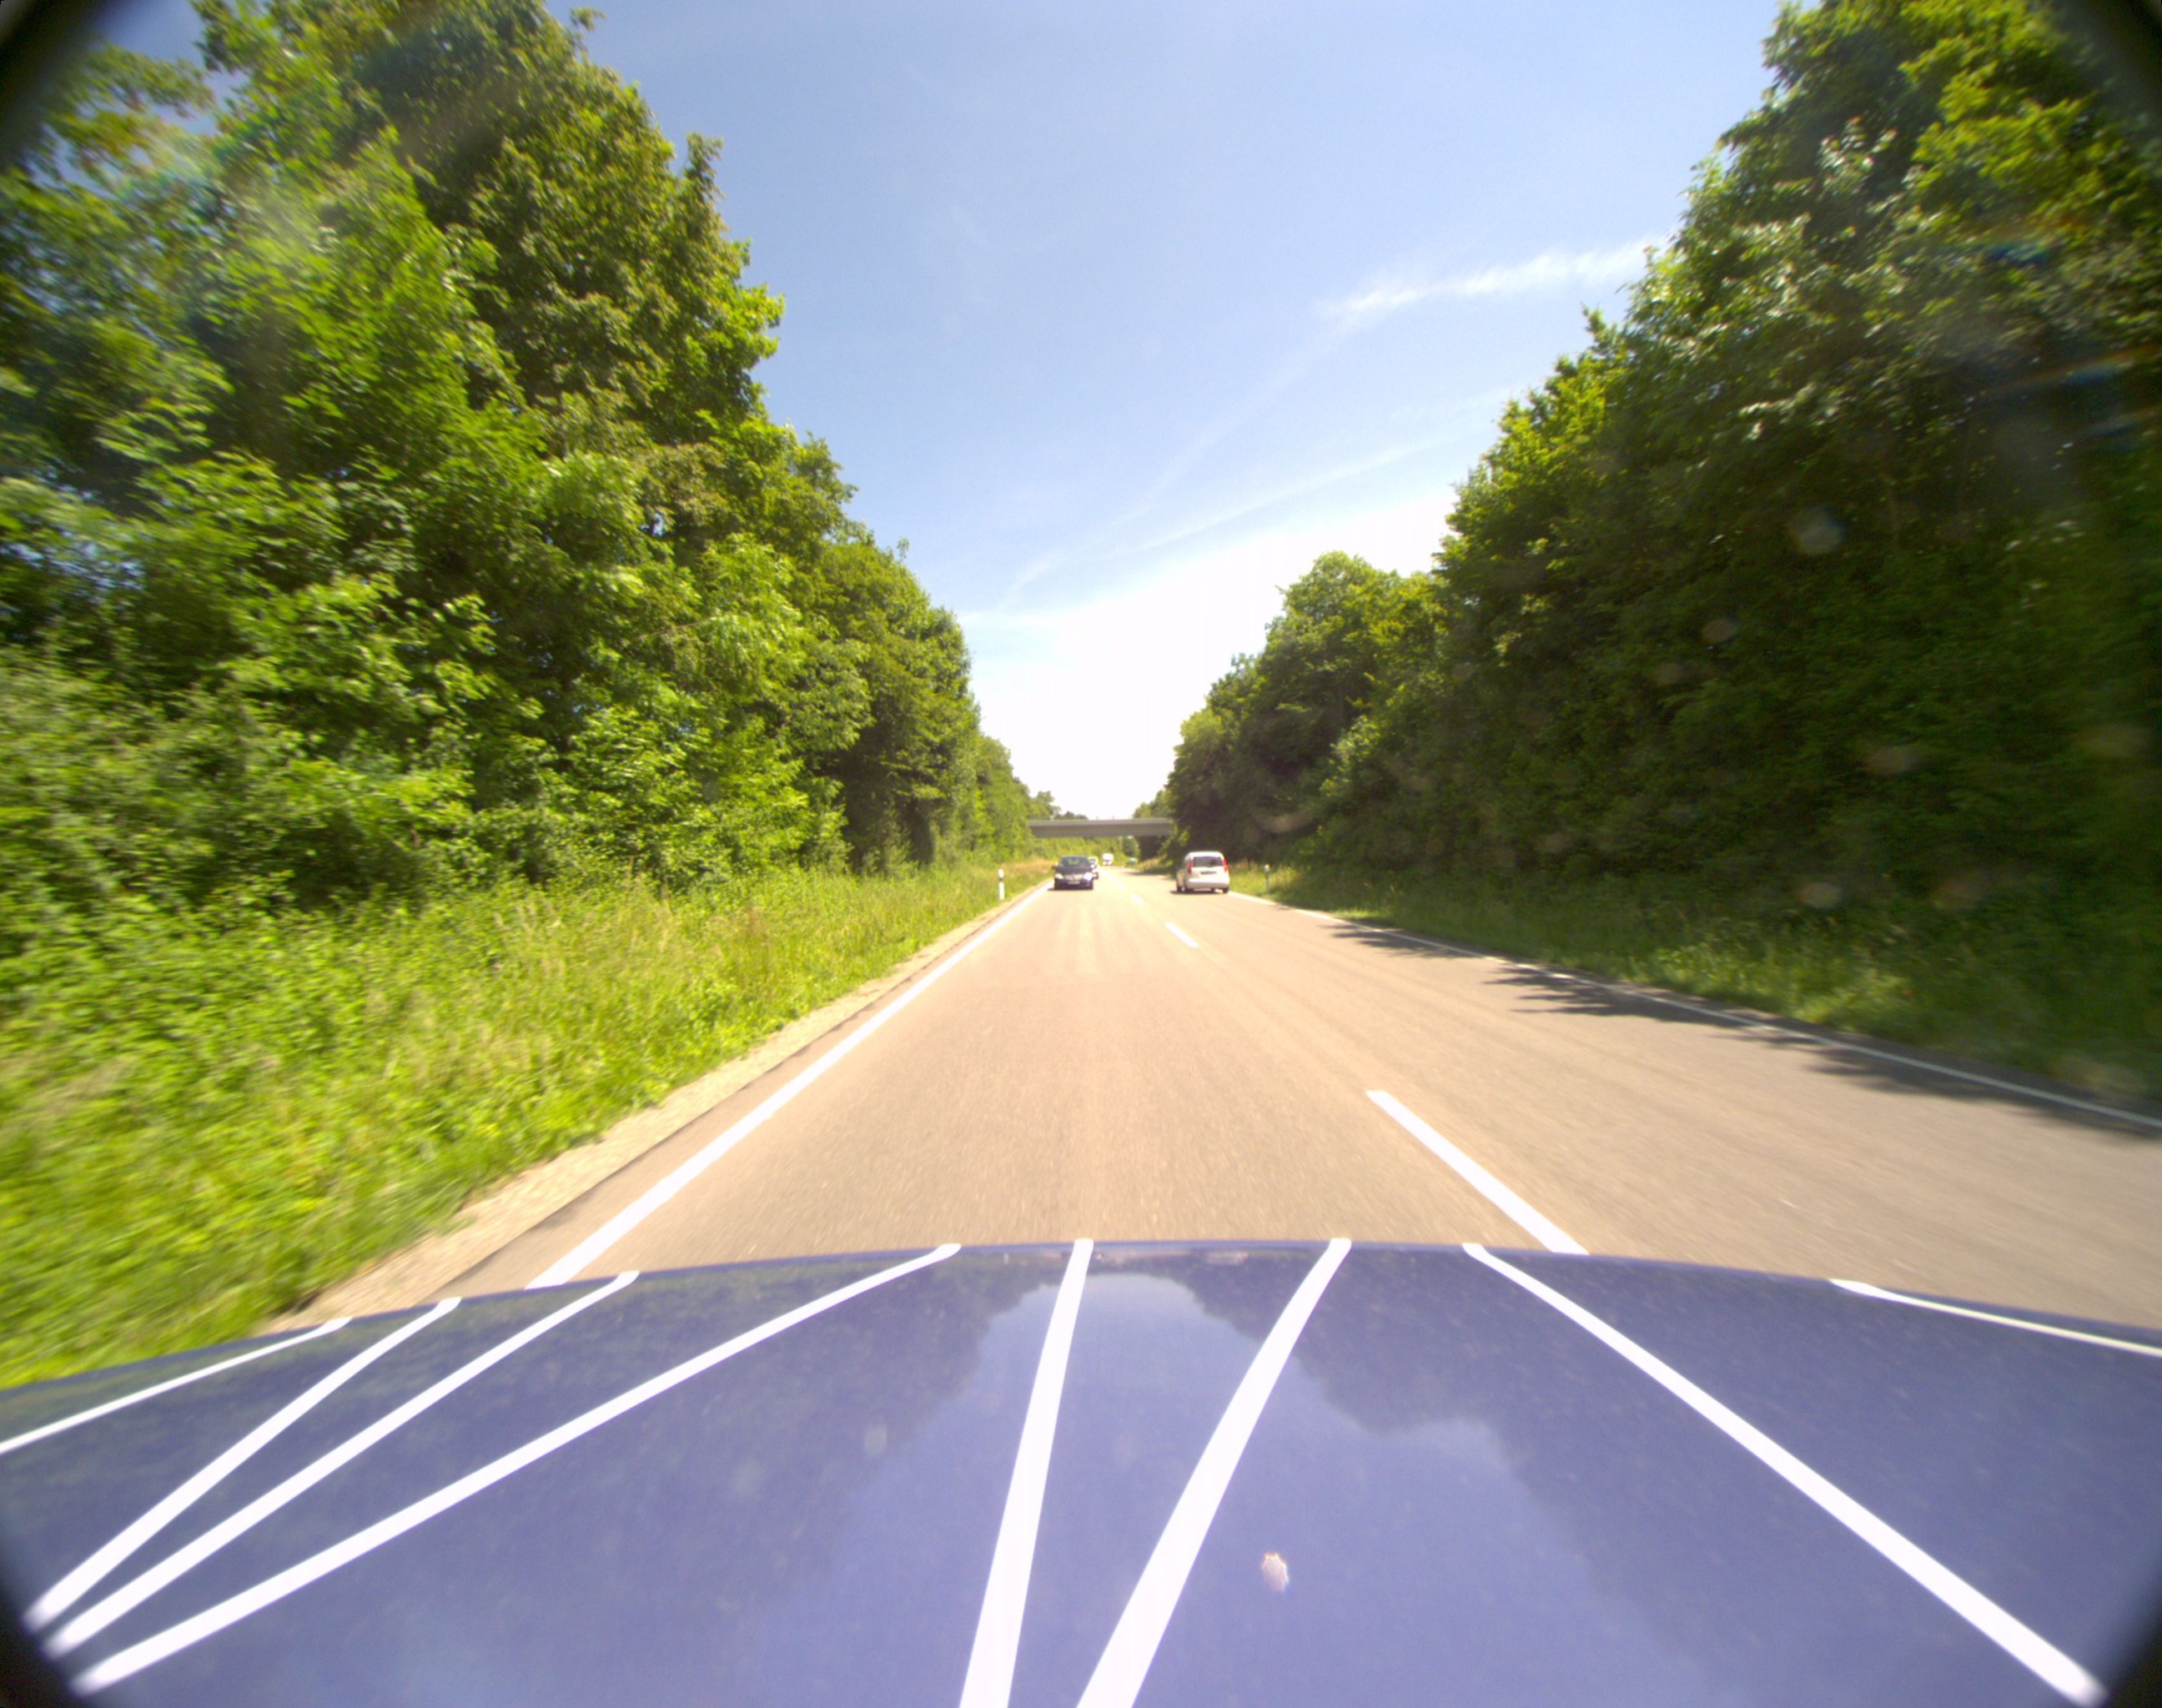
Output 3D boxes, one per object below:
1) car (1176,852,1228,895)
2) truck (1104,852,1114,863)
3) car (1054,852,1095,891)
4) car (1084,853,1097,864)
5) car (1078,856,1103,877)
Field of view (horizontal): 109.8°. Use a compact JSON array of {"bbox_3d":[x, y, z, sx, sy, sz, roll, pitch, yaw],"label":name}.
[{"bbox_3d":[4.791,0.727,30.467,1.516,1.583,3.793,-1,0,1],"label":"car"},{"bbox_3d":[8.669,1.022,235.104,2.577,3.111,11.200,-3,1,3],"label":"truck"},{"bbox_3d":[-0.228,0.784,35.743,1.783,1.676,4.779,0,-1,1],"label":"car"},{"bbox_3d":[1.583,0.729,128.158,2.045,1.743,4.166,-2,0,0],"label":"car"},{"bbox_3d":[0.675,0.904,56.066,1.709,1.444,5.414,0,-1,-1],"label":"car"}]
